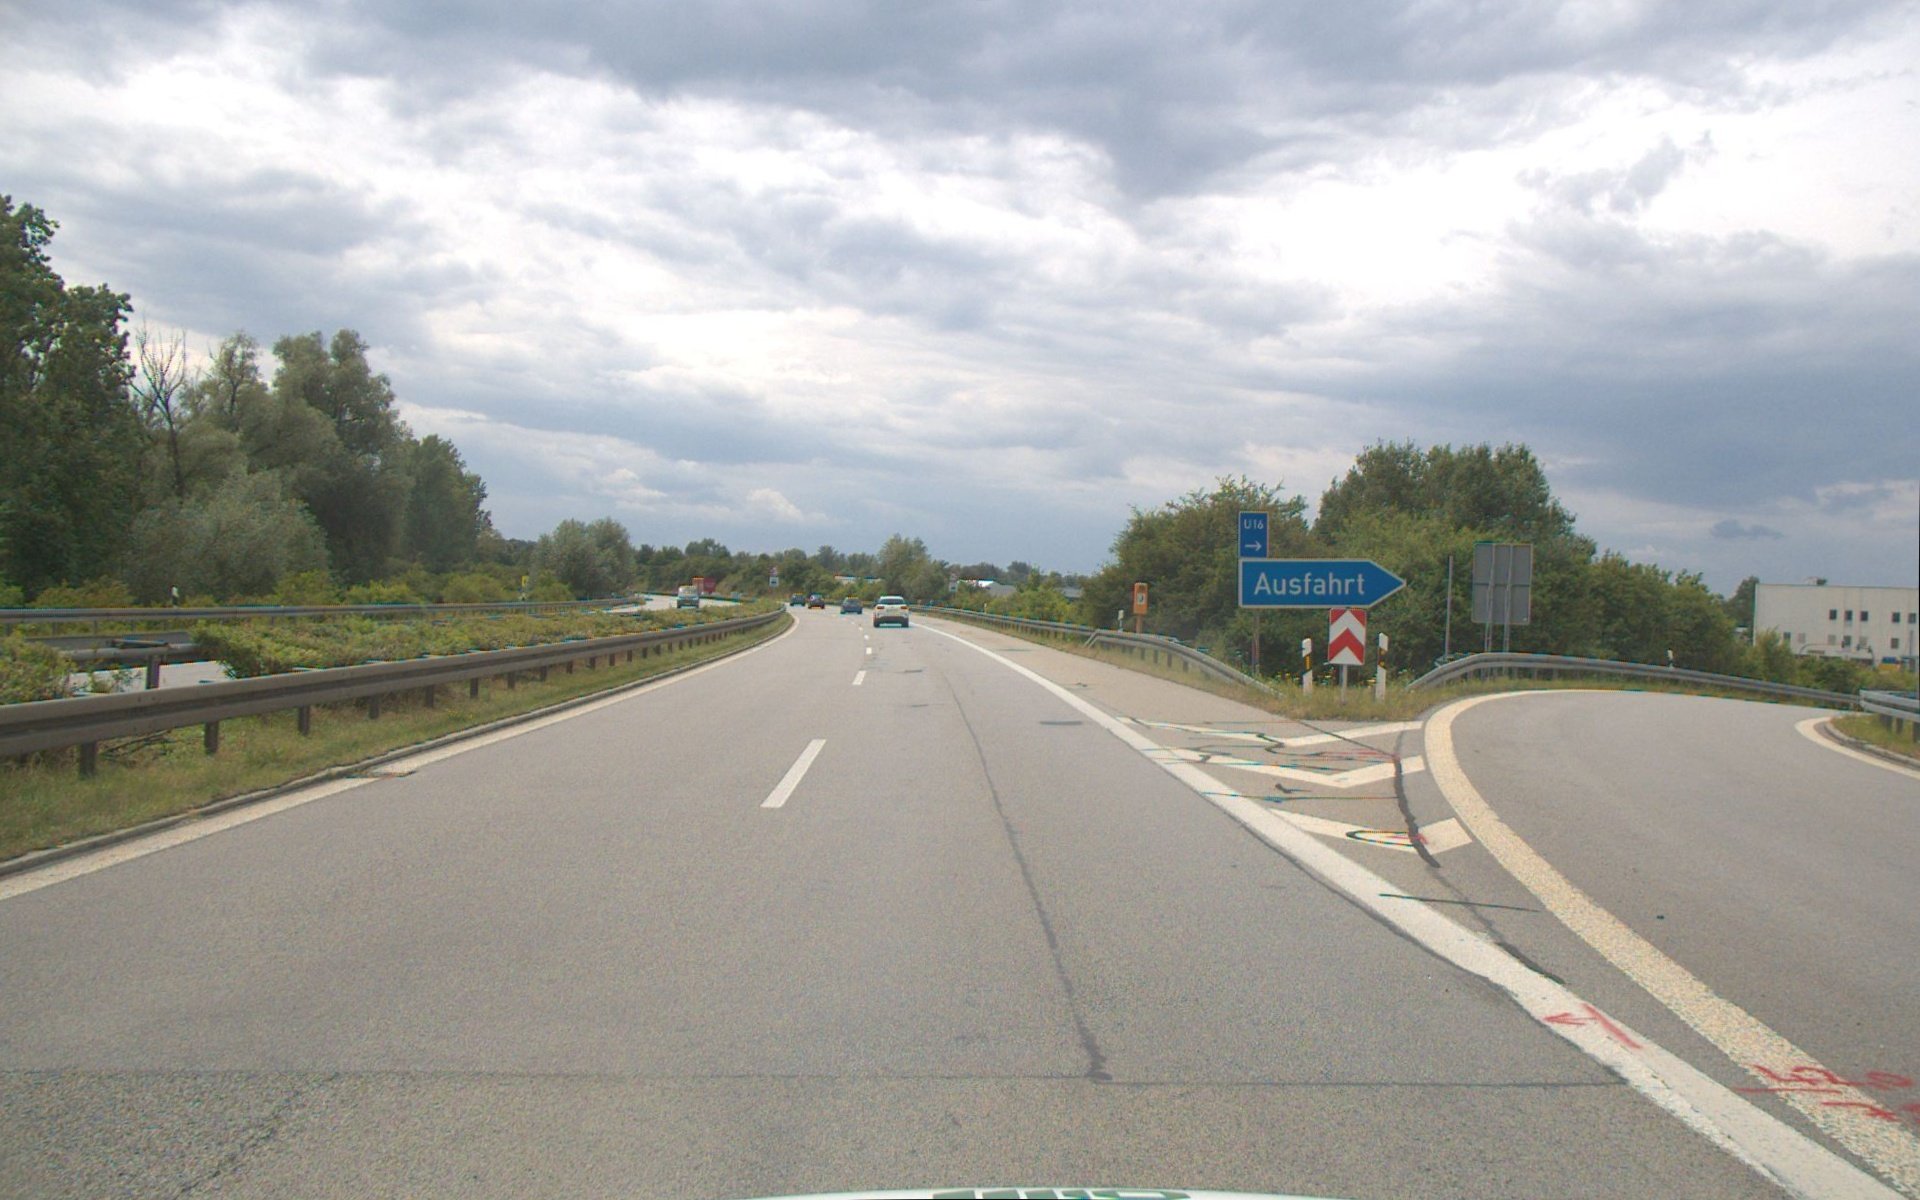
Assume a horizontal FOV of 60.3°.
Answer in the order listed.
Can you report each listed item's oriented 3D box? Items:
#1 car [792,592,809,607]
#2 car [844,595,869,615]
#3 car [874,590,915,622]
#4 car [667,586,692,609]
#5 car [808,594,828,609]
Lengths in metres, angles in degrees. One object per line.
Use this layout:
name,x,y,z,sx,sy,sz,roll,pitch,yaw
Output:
car,-21.041,-0.049,218.526,1.794,1.825,4.402,-2,1,-11
car,-9.218,0.429,147.104,1.857,1.668,4.613,1,0,-8
car,-3.622,0.302,90.354,1.866,1.668,4.389,2,0,-7
car,-24.805,-0.238,146.358,1.667,1.917,5.223,2,0,-4
car,-16.305,0.124,190.246,1.868,1.668,4.768,1,0,-10
